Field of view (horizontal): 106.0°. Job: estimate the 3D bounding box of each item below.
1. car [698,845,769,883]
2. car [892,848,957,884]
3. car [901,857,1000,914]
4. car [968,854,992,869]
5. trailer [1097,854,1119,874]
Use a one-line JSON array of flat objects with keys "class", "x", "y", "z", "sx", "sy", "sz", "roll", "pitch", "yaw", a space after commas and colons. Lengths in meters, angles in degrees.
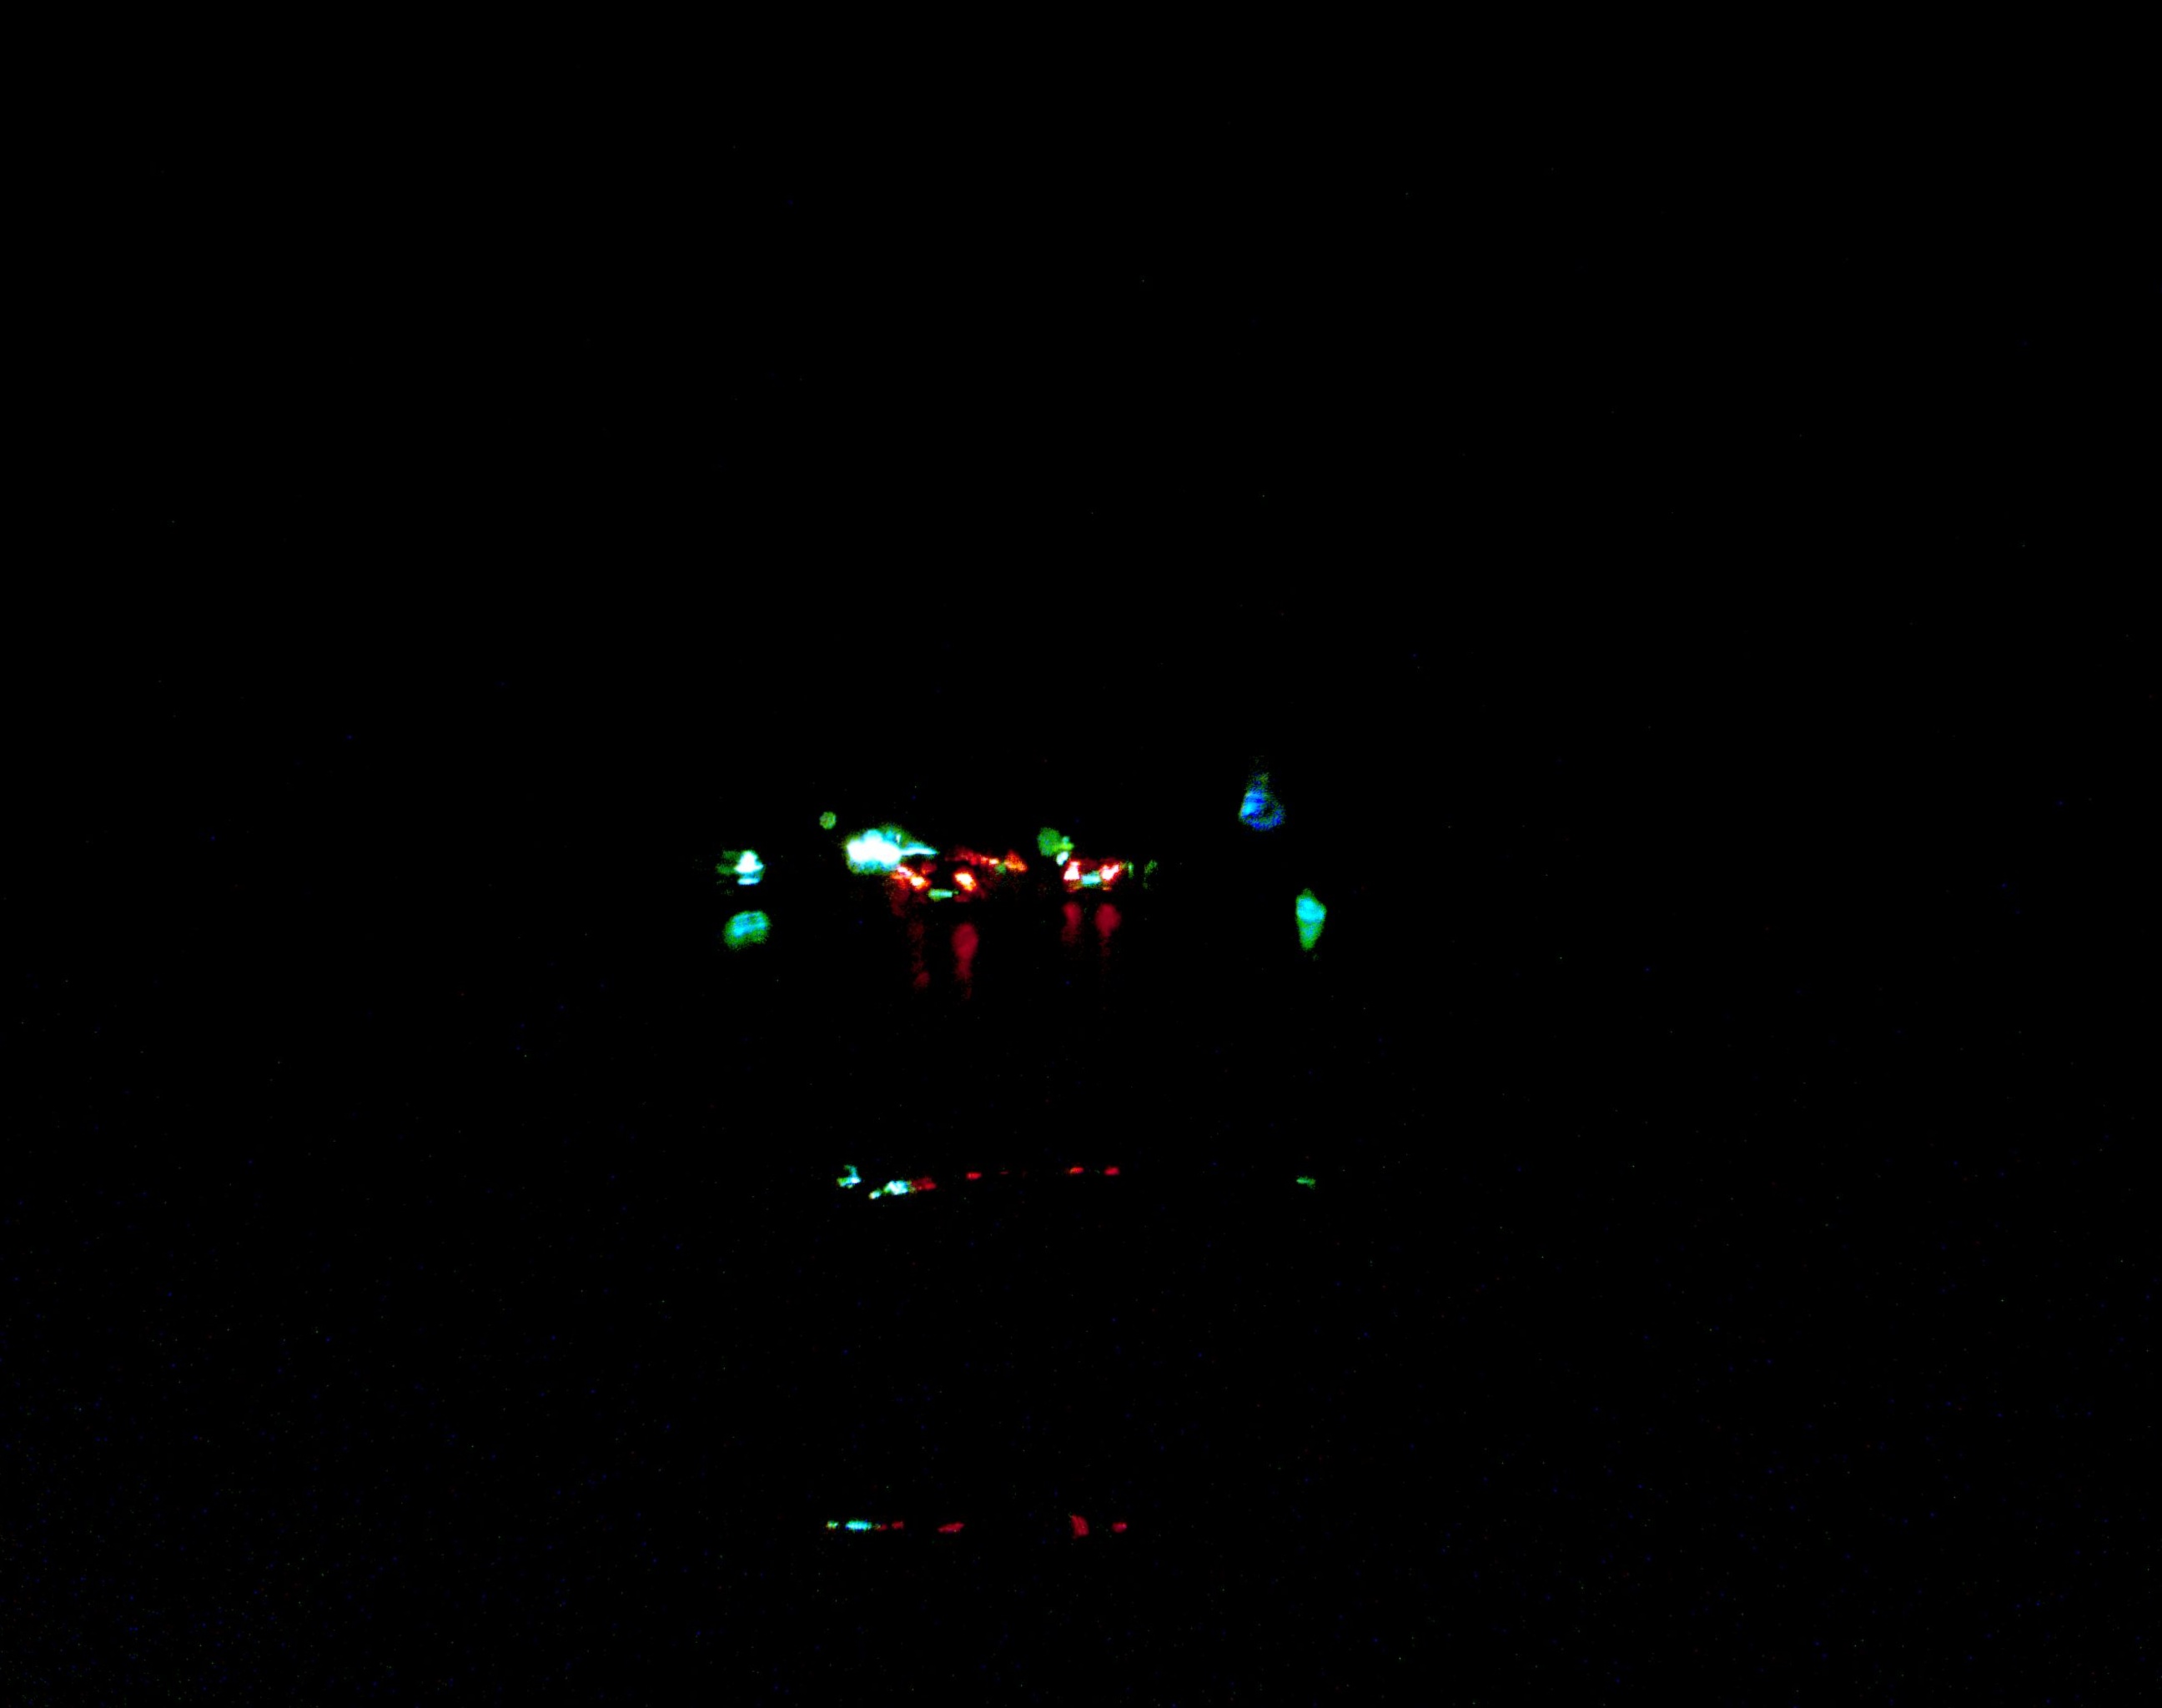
[{"class": "car", "x": -19.716, "y": 0.580, "z": 46.460, "sx": 1.987, "sy": 2.014, "sz": 4.808, "roll": 0, "pitch": -1, "yaw": -1}, {"class": "car", "x": -7.071, "y": 0.509, "z": 37.372, "sx": 1.760, "sy": 1.517, "sz": 4.919, "roll": 0, "pitch": 0, "yaw": 3}, {"class": "car", "x": -3.442, "y": 0.819, "z": 22.251, "sx": 1.955, "sy": 1.380, "sz": 4.050, "roll": 1, "pitch": -1, "yaw": 1}, {"class": "car", "x": -10.986, "y": 0.789, "z": 88.837, "sx": 1.885, "sy": 1.550, "sz": 4.002, "roll": 0, "pitch": -1, "yaw": 2}, {"class": "trailer", "x": 2.757, "y": 1.066, "z": 86.637, "sx": 2.071, "sy": 2.014, "sz": 10.646, "roll": 0, "pitch": -1, "yaw": 0}]
